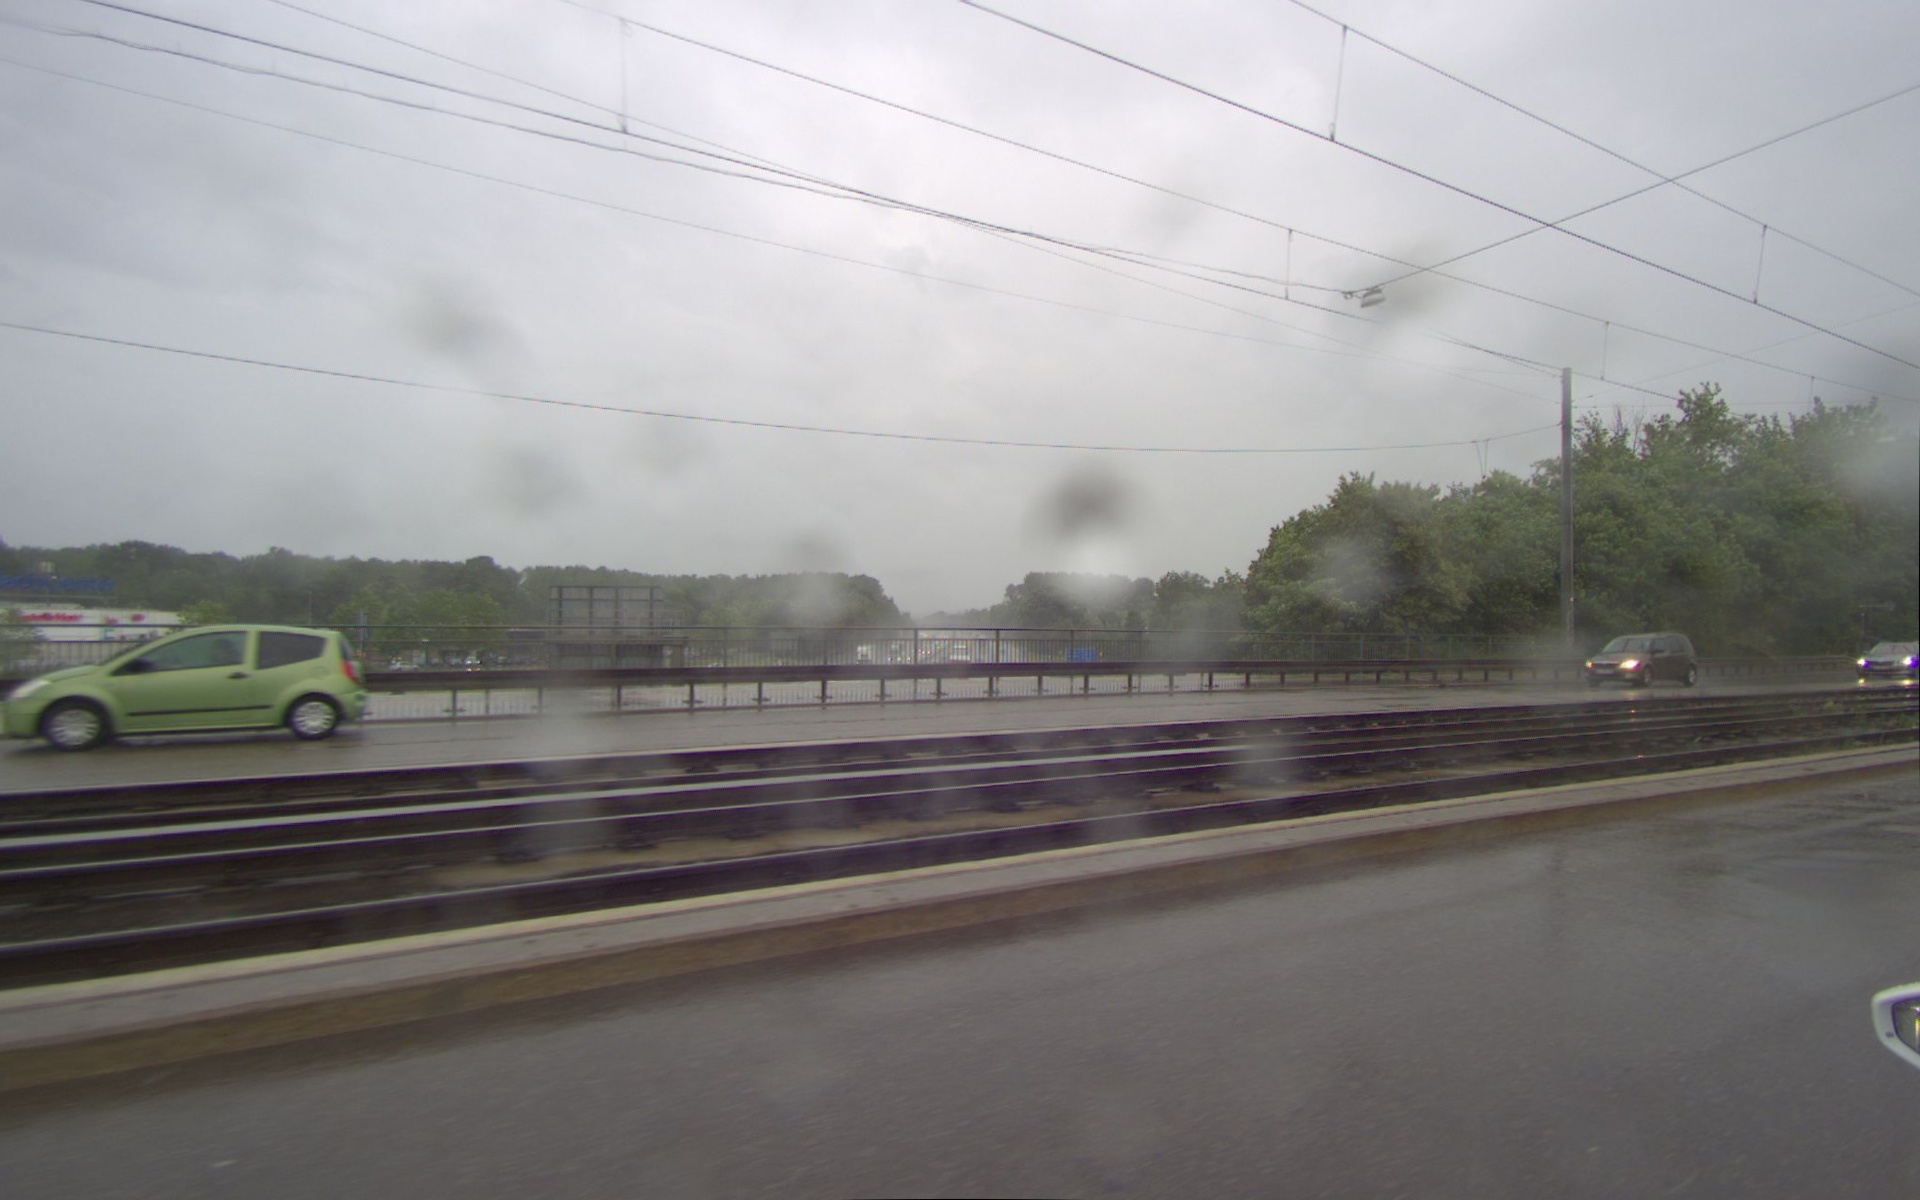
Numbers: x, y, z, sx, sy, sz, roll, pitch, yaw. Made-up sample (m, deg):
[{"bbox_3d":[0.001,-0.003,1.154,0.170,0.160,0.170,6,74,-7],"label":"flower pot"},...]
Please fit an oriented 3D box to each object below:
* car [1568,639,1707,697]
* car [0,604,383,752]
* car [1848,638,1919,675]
[{"bbox_3d":[20.673,2.038,30.614,4.334,1.595,1.832,2,-1,-30],"label":"car"},{"bbox_3d":[-9.616,0.913,12.706,3.953,1.615,1.837,2,-1,-30],"label":"car"},{"bbox_3d":[38.738,2.281,41.339,4.798,1.407,1.983,1,-1,-31],"label":"car"}]
